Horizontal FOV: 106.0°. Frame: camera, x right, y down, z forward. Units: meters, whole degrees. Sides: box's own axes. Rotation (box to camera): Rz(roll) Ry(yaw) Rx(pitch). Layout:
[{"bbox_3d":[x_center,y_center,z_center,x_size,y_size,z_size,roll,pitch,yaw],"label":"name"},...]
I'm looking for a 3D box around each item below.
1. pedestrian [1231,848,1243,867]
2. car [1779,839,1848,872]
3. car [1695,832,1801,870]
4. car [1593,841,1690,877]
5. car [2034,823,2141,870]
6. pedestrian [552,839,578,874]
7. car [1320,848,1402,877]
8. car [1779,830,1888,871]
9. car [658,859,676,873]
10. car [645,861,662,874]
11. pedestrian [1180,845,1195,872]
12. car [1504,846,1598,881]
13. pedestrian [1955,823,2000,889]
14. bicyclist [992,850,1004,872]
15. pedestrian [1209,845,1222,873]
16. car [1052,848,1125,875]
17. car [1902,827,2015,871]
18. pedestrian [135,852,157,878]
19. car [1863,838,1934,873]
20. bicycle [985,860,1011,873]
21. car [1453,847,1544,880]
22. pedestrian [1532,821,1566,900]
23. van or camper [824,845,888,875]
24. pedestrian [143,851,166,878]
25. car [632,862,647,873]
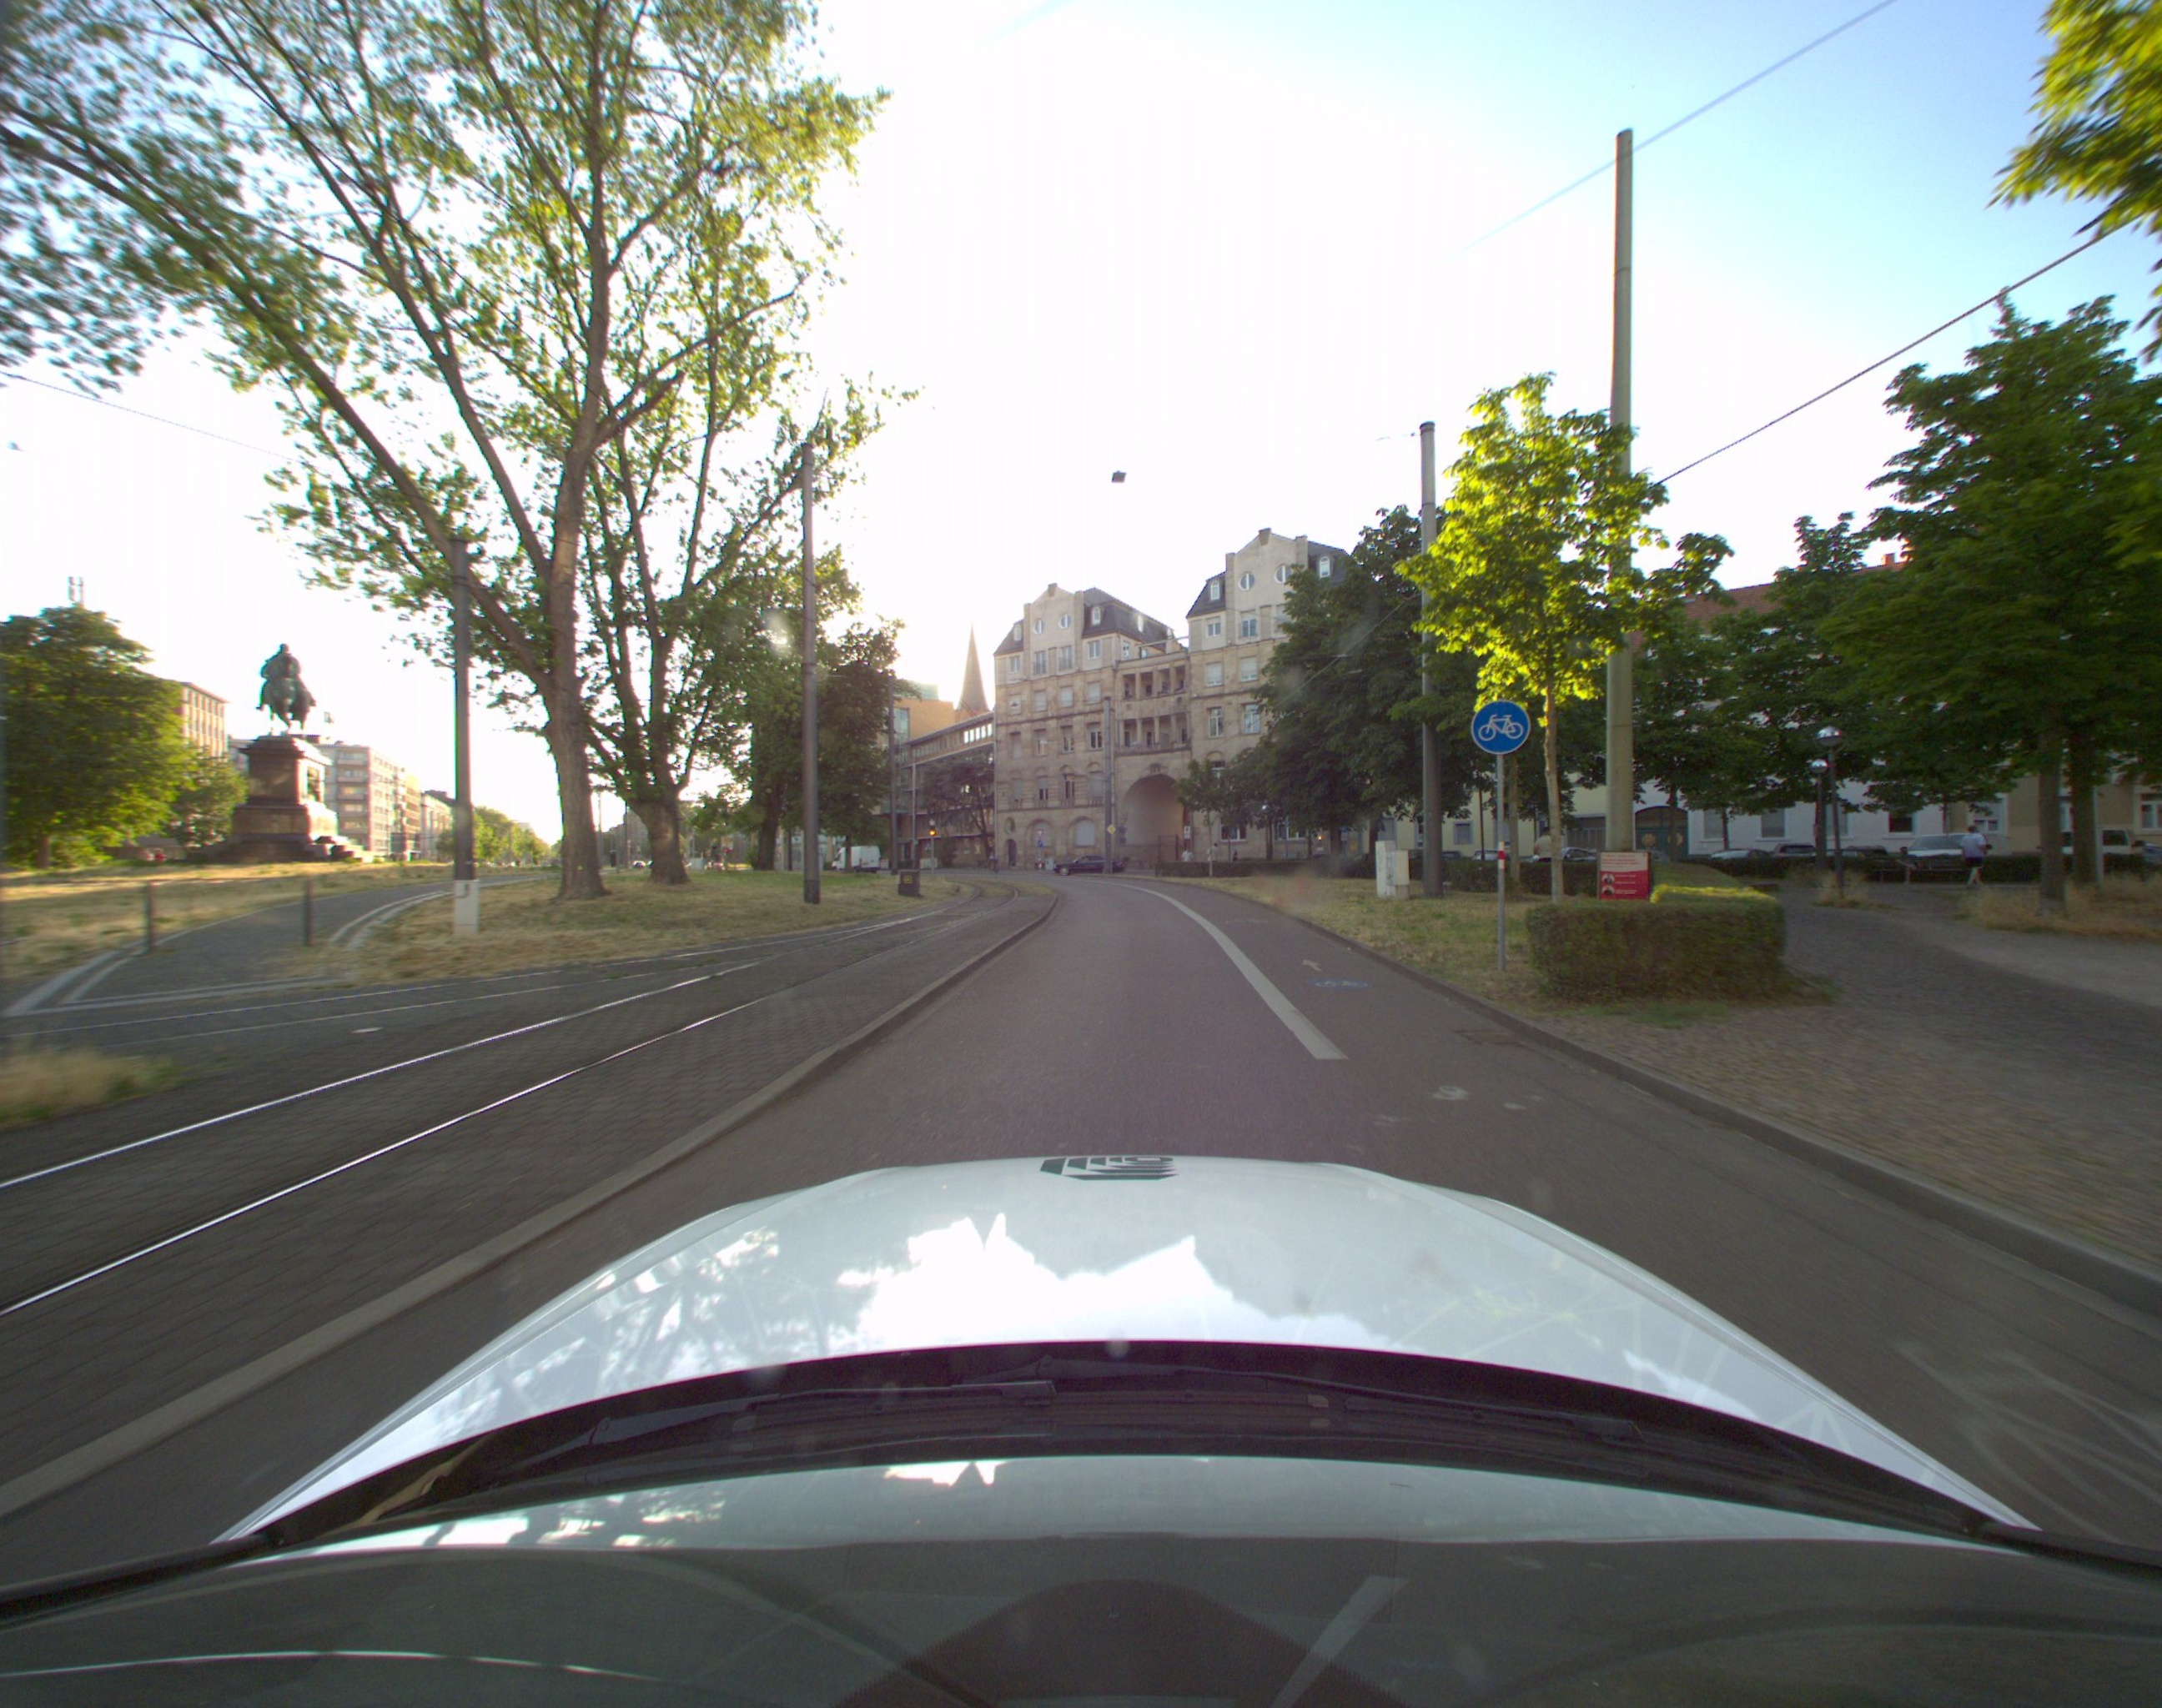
[{"bbox_3d":[11.554,0.249,60.309,0.678,1.368,0.639,-1,0,35],"label":"pedestrian"},{"bbox_3d":[35.925,0.046,39.904,4.021,1.564,1.977,-1,0,-40],"label":"car"},{"bbox_3d":[26.582,-0.127,32.412,4.483,1.426,1.843,-1,-1,-31],"label":"car"},{"bbox_3d":[23.378,0.174,33.928,4.347,1.426,1.842,-1,0,-34],"label":"car"},{"bbox_3d":[33.653,-0.239,27.202,4.347,1.426,1.842,-1,-1,-34],"label":"car"},{"bbox_3d":[-24.487,0.111,38.666,0.631,1.606,0.775,-1,1,15],"label":"pedestrian"},{"bbox_3d":[14.699,0.453,42.692,4.347,1.426,1.842,-1,-1,-34],"label":"car"},{"bbox_3d":[28.445,-0.138,30.757,4.483,1.426,1.843,-1,-1,-31],"label":"car"},{"bbox_3d":[-64.297,1.855,126.542,2.153,2.013,3.959,-1,0,-32],"label":"car"},{"bbox_3d":[-72.769,2.252,138.617,2.153,2.013,3.959,-1,0,-32],"label":"car"},{"bbox_3d":[6.053,0.268,46.299,0.586,1.511,0.692,-1,0,33],"label":"pedestrian"},{"bbox_3d":[20.705,0.414,35.860,4.347,1.426,1.842,-1,-1,-34],"label":"car"},{"bbox_3d":[24.559,0.047,22.324,1.013,1.749,0.761,-1,0,-45],"label":"pedestrian"},{"bbox_3d":[-6.234,0.499,61.249,0.765,1.642,0.513,-1,0,39],"label":"bicyclist"},{"bbox_3d":[7.266,0.279,43.996,0.628,1.511,0.690,-1,0,16],"label":"pedestrian"},{"bbox_3d":[0.555,0.490,55.032,4.728,1.761,1.824,-1,0,7],"label":"car"},{"bbox_3d":[31.253,-0.179,28.982,4.483,1.426,1.843,-1,-1,-31],"label":"car"},{"bbox_3d":[-57.242,0.662,49.861,0.775,1.606,0.631,-2,1,-39],"label":"pedestrian"},{"bbox_3d":[37.884,0.039,37.721,4.021,1.564,1.977,-1,0,-40],"label":"car"},{"bbox_3d":[-6.266,0.946,61.286,2.213,0.978,0.513,-1,0,40],"label":"bicycle"},{"bbox_3d":[19.215,0.419,37.445,4.347,1.426,1.842,-1,-1,-34],"label":"car"},{"bbox_3d":[12.325,0.161,21.456,0.642,2.013,0.823,0,0,40],"label":"pedestrian"},{"bbox_3d":[-20.094,0.508,72.469,6.240,2.472,2.632,0,1,44],"label":"van or camper"},{"bbox_3d":[-56.429,0.648,49.596,0.775,1.606,0.631,-2,1,-39],"label":"pedestrian"},{"bbox_3d":[-84.072,2.586,155.097,2.153,2.013,3.959,-1,0,-32],"label":"car"}]
